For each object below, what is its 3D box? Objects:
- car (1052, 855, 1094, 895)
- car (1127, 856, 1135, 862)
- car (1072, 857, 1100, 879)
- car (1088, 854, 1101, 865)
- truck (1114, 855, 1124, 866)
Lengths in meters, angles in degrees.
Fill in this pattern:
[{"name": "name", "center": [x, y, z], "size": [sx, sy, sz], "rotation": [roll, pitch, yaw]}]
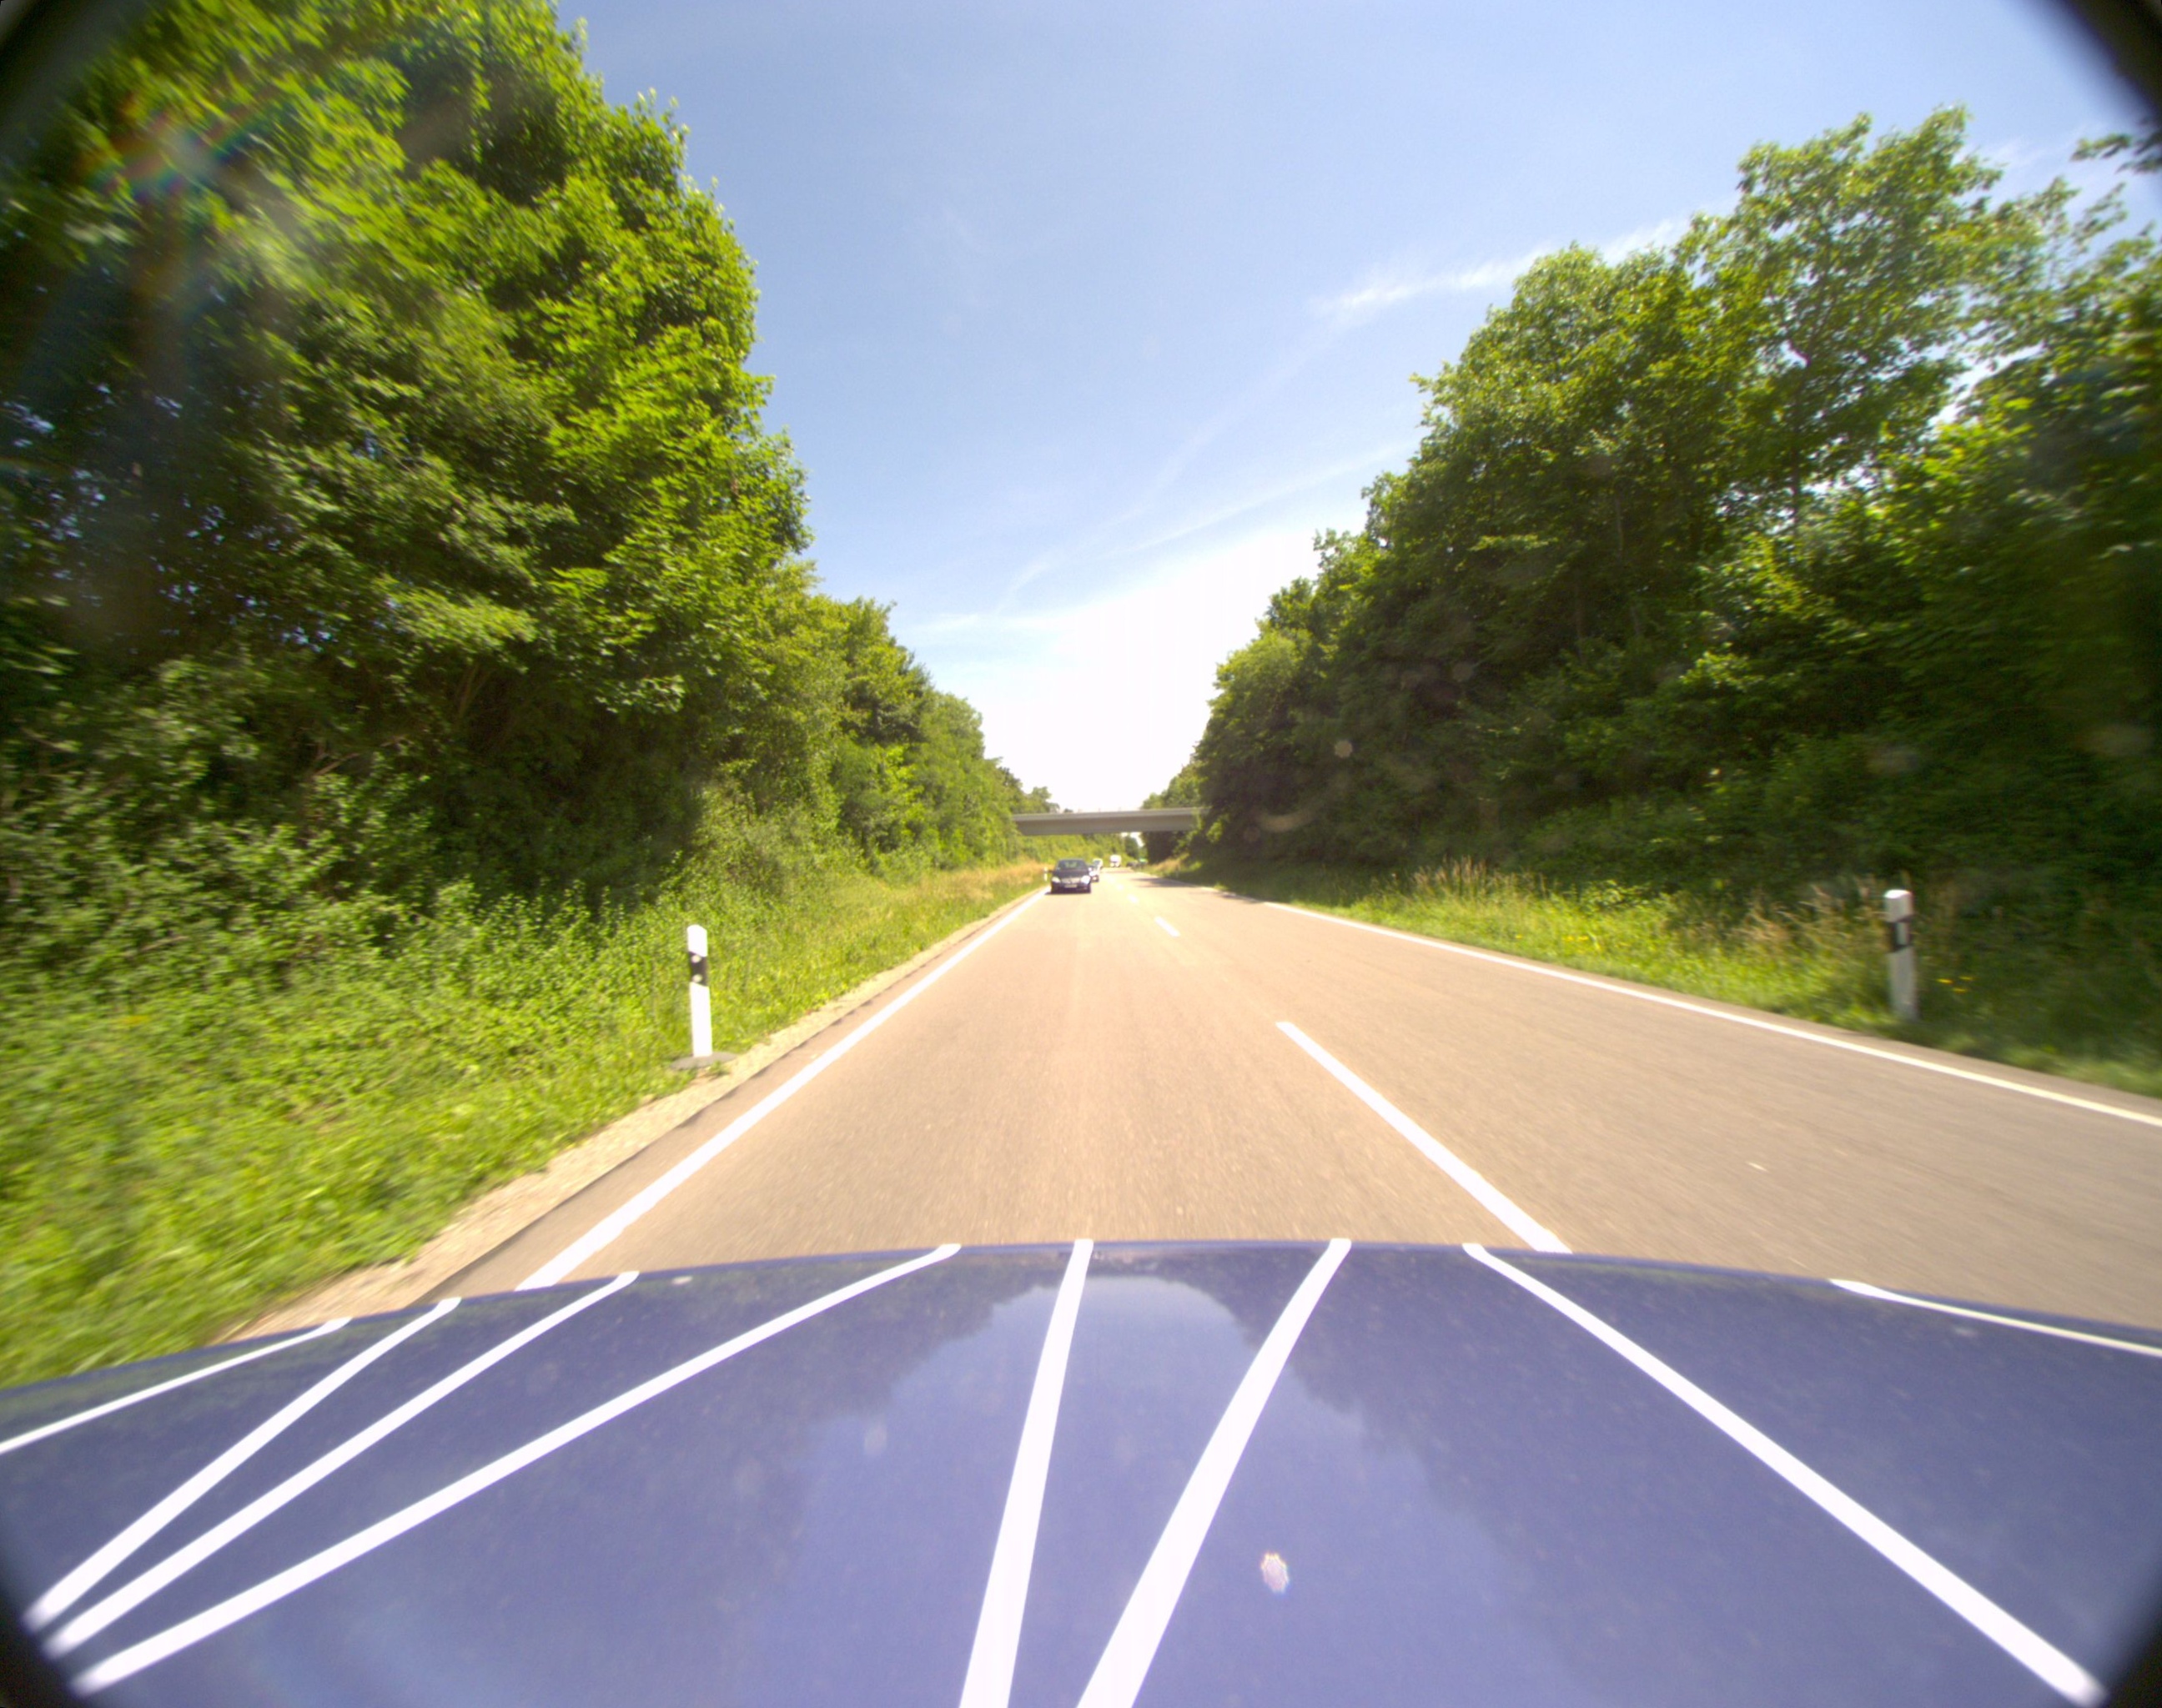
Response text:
[{"name": "car", "center": [-0.310, 0.912, 35.076], "size": [1.783, 1.676, 4.779], "rotation": [-1, -1, 1]}, {"name": "car", "center": [14.309, 1.471, 217.760], "size": [1.863, 1.497, 4.587], "rotation": [-1, 0, 2]}, {"name": "car", "center": [0.386, 0.939, 52.190], "size": [1.709, 1.444, 5.416], "rotation": [-1, -1, 2]}, {"name": "car", "center": [2.219, 0.838, 125.025], "size": [2.045, 1.743, 4.166], "rotation": [-2, 0, 0]}, {"name": "truck", "center": [11.723, 2.002, 235.394], "size": [2.576, 3.111, 11.201], "rotation": [-4, 1, 4]}]
